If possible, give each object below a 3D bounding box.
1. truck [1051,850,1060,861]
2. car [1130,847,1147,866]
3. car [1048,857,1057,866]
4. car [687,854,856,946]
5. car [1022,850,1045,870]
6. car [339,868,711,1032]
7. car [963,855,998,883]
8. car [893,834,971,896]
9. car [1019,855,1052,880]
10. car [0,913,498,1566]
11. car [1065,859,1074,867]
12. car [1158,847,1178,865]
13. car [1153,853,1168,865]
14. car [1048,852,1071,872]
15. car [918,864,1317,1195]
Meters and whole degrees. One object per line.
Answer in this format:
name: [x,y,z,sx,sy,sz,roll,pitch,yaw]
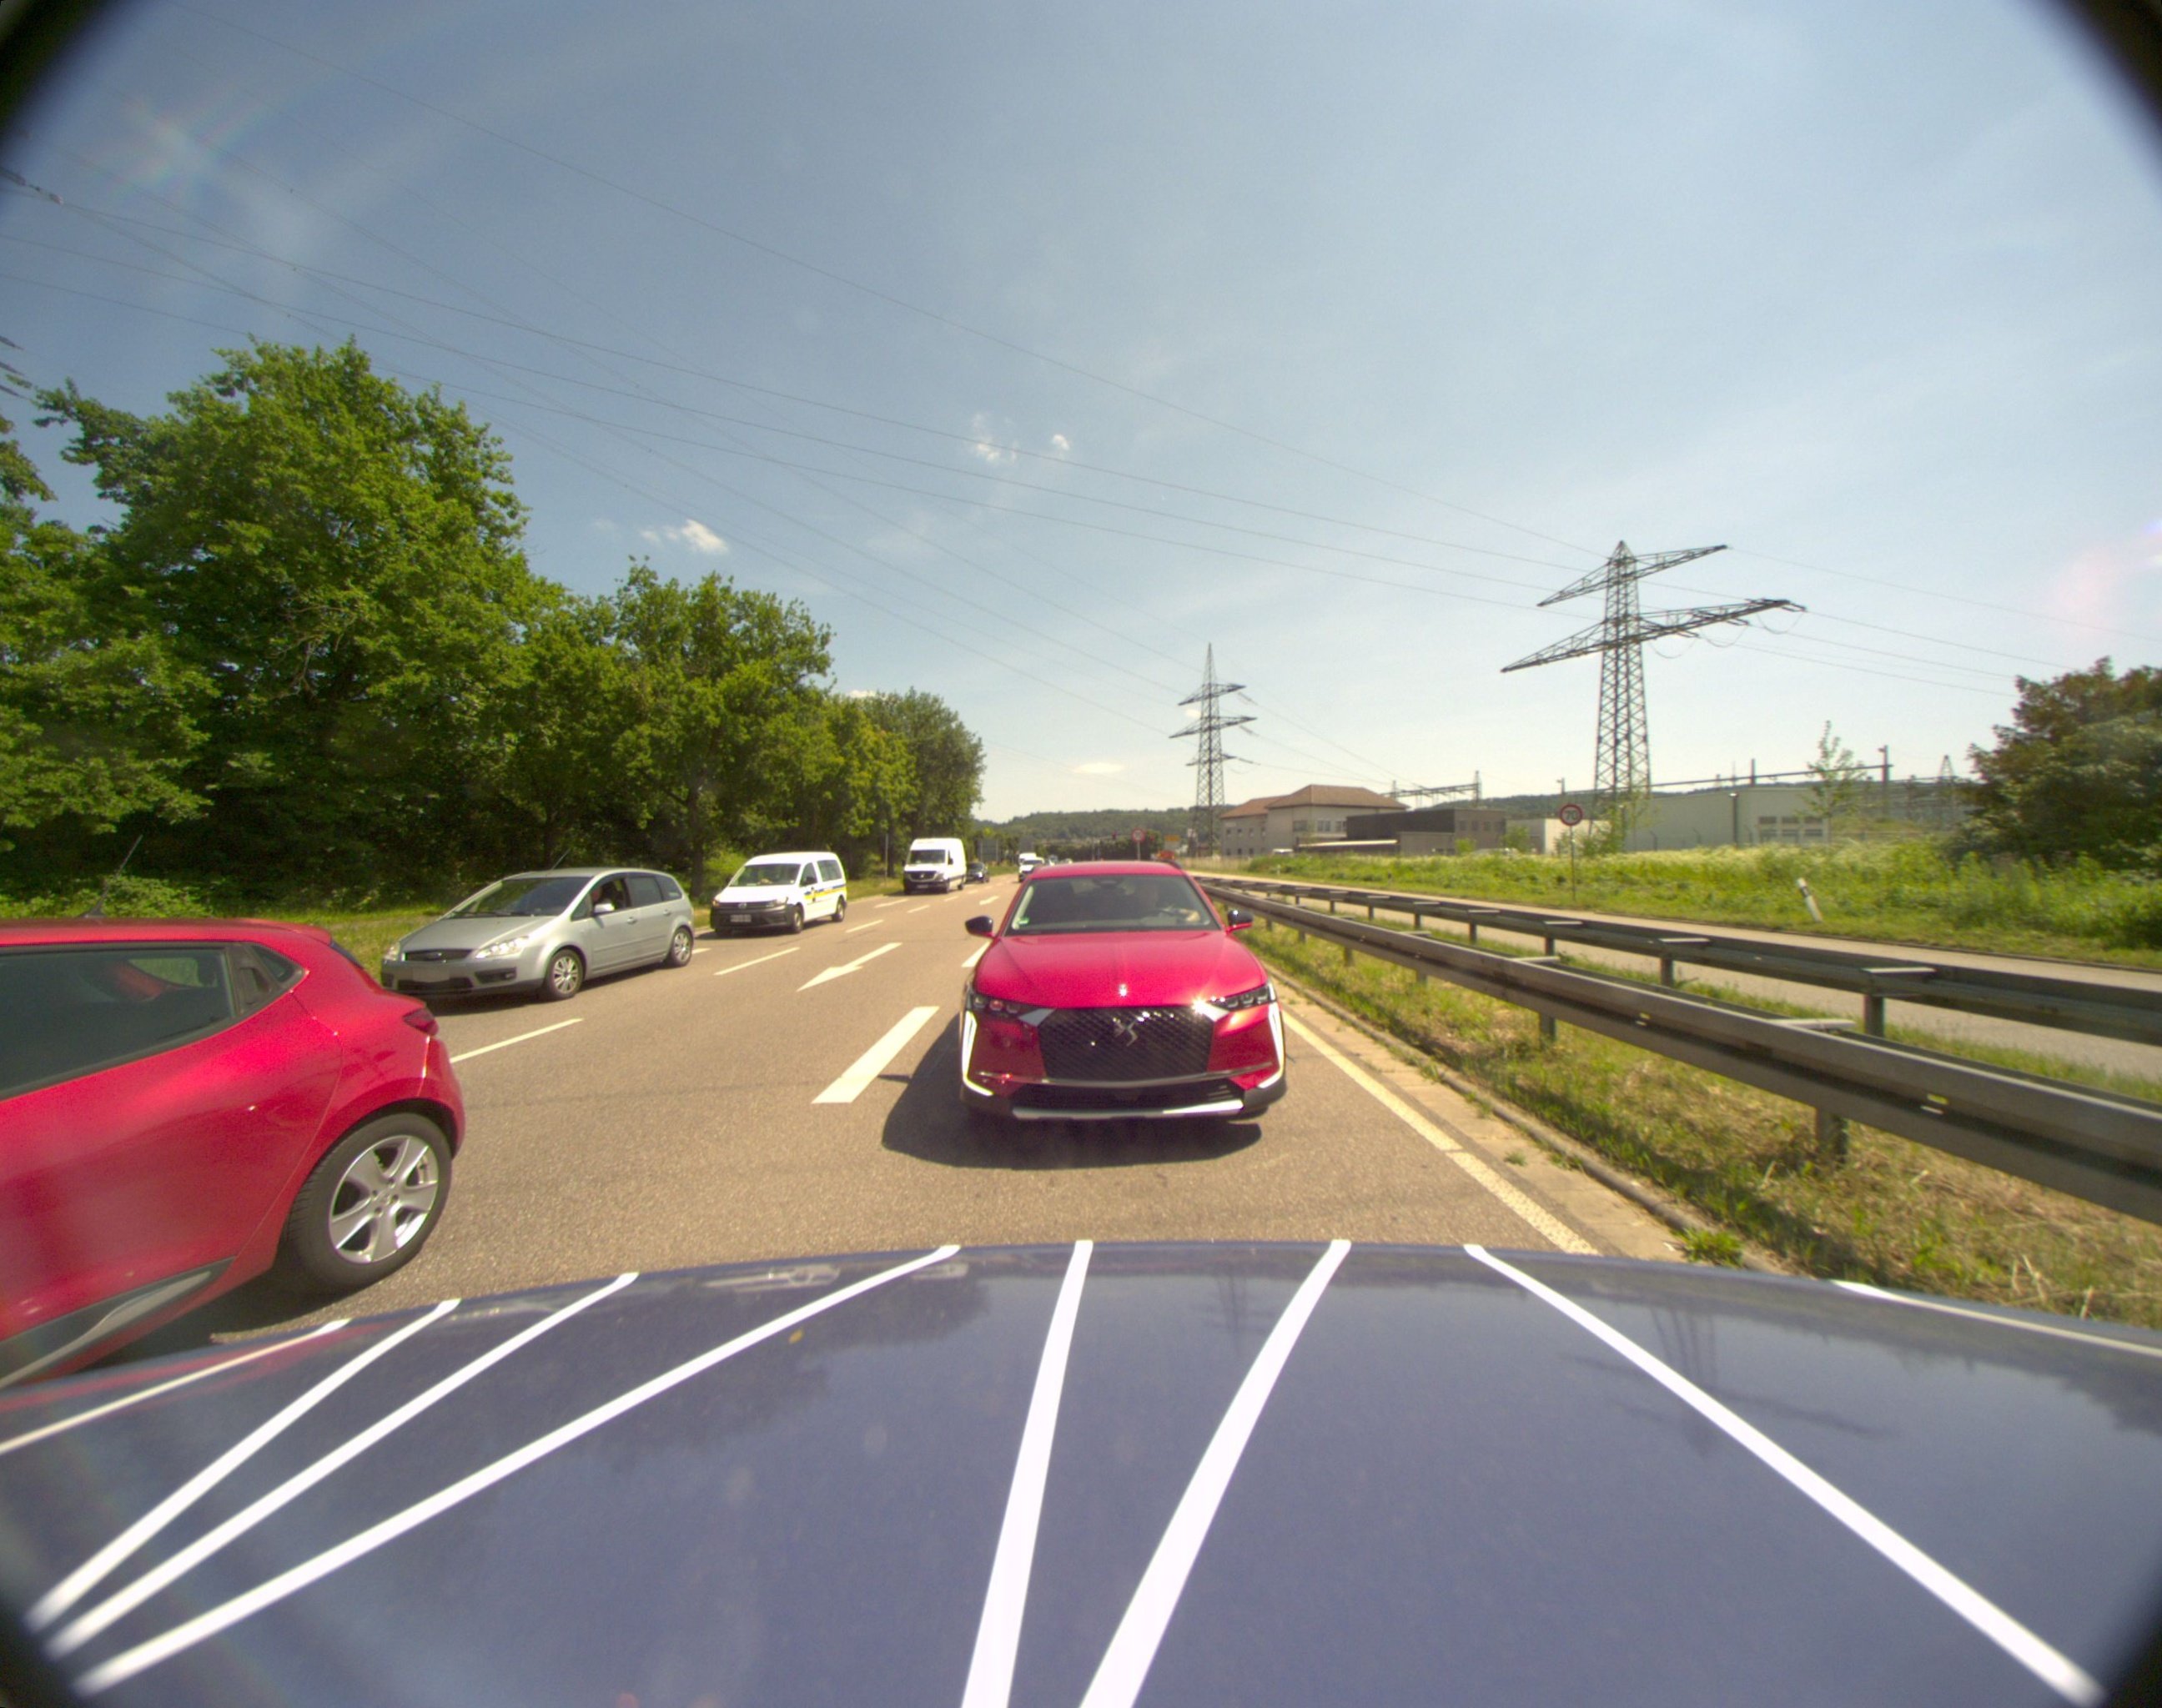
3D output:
truck: [-6.485,0.361,192.125,2.170,2.428,4.909,-2,1,-2]
car: [9.803,0.397,130.055,2.607,3.043,5.638,0,0,0]
car: [-6.398,1.674,169.710,1.878,1.674,3.998,-2,1,-2]
car: [-6.974,0.927,17.798,1.809,1.790,5.037,-2,0,0]
car: [-6.058,0.769,97.688,2.308,2.408,5.814,-2,0,1]
car: [-6.918,1.060,10.176,1.747,1.585,4.272,-2,0,1]
car: [-6.742,0.989,51.449,1.878,1.674,3.998,-2,1,-2]
car: [-6.997,0.478,36.618,2.232,2.592,7.018,-2,0,0]
car: [-2.990,0.876,50.833,1.850,1.559,4.363,-2,0,1]
car: [-3.507,1.021,1.340,1.747,1.453,4.065,-2,0,0]
car: [-2.654,1.975,173.816,1.878,1.674,3.998,-2,1,-2]
car: [14.373,0.333,125.708,2.607,3.043,5.638,0,0,0]
car: [14.131,0.876,135.435,1.999,1.904,3.998,-2,1,-3]
car: [-1.962,0.721,71.274,2.022,1.671,3.999,-2,0,-1]
car: [0.201,0.865,5.819,1.846,1.453,4.414,-2,0,1]
